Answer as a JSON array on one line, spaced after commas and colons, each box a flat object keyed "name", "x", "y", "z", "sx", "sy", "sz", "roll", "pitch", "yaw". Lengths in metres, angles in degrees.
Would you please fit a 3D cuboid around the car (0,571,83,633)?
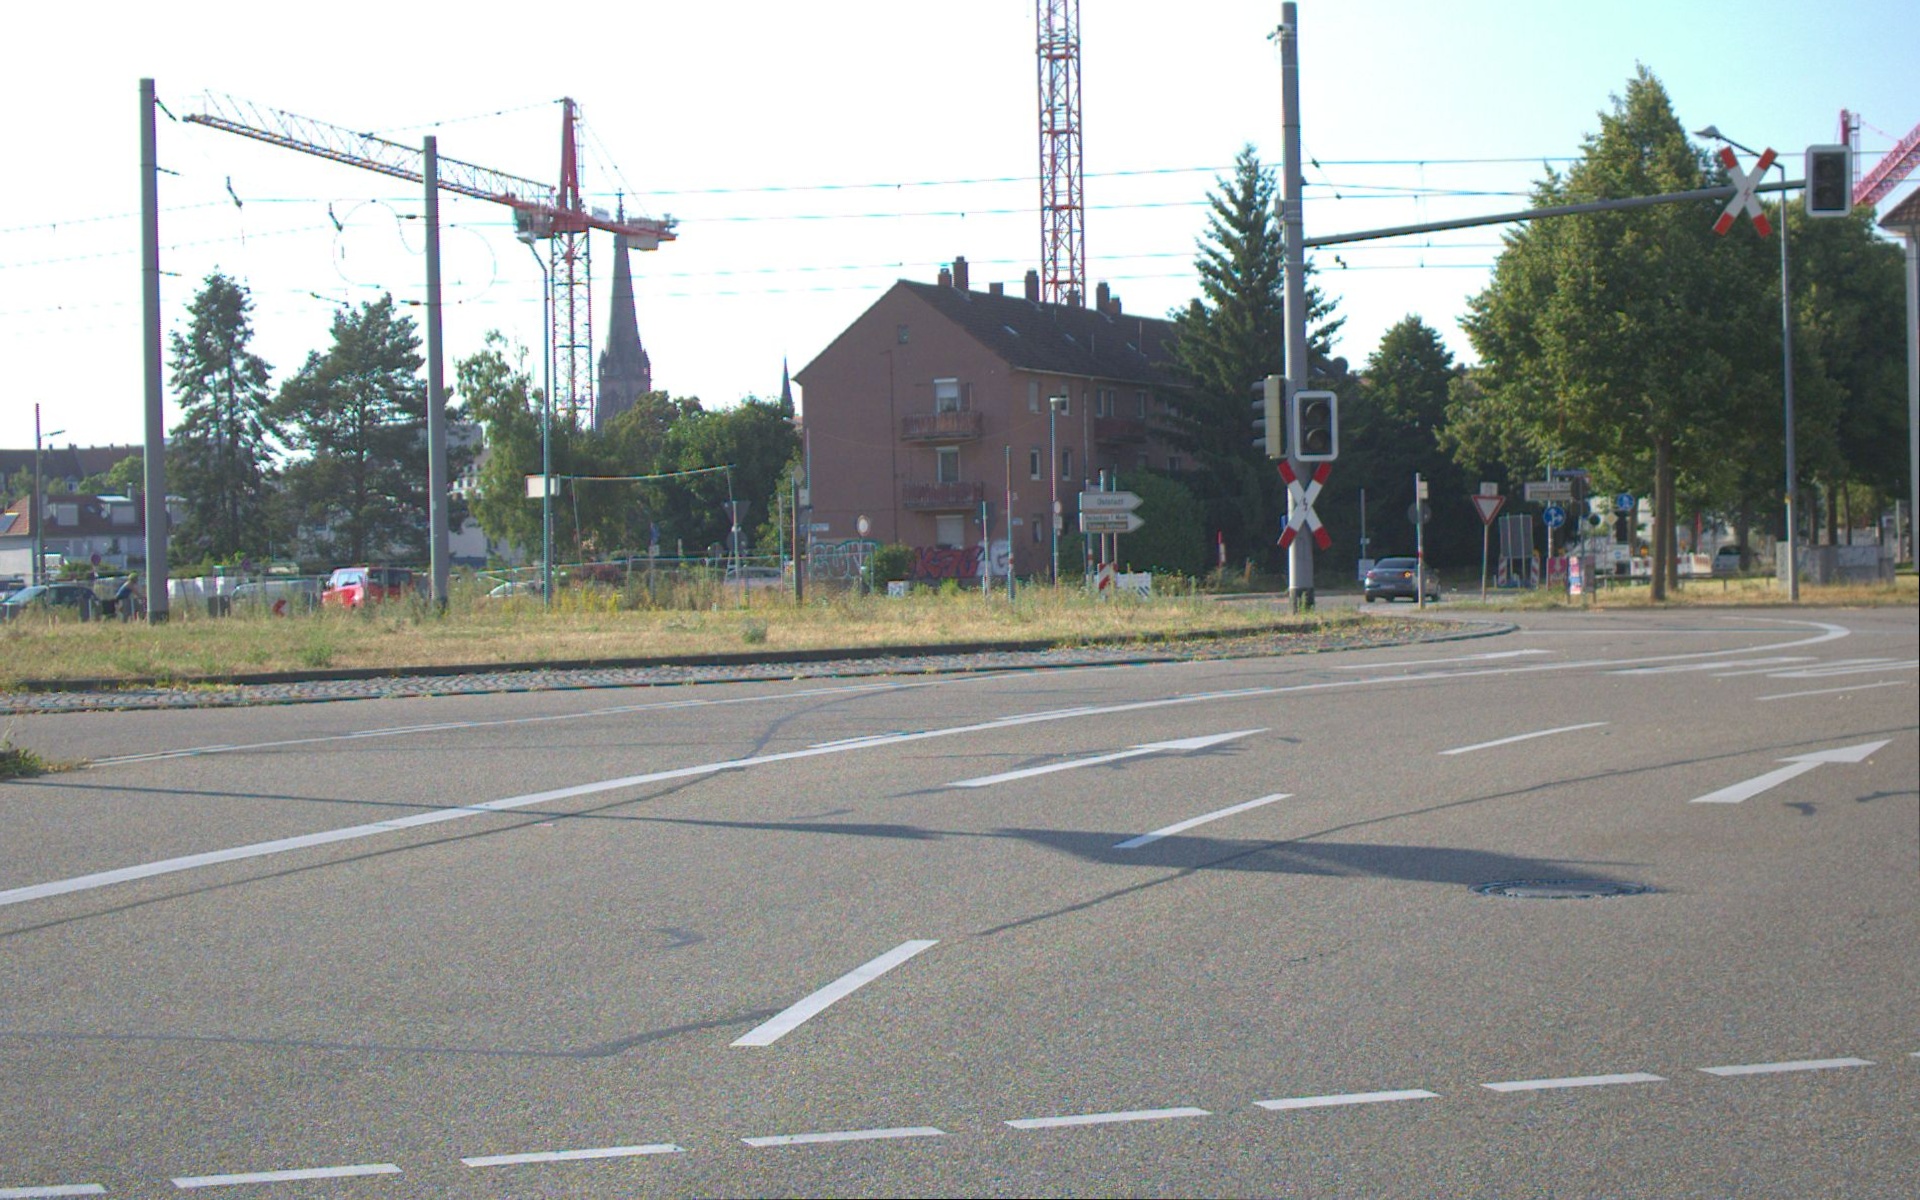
[{"name": "car", "x": -29.176, "y": 0.082, "z": 105.355, "sx": 3.987, "sy": 1.809, "sz": 2.000, "roll": -2, "pitch": 1, "yaw": -32}]

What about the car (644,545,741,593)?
[{"name": "car", "x": -11.633, "y": -1.345, "z": 149.325, "sx": 3.812, "sy": 2.007, "sz": 1.670, "roll": -1, "pitch": 0, "yaw": 19}]

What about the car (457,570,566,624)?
[{"name": "car", "x": -17.286, "y": -0.114, "z": 132.505, "sx": 3.812, "sy": 2.007, "sz": 1.670, "roll": -1, "pitch": 0, "yaw": 19}]

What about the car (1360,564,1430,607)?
[{"name": "car", "x": 14.088, "y": -0.463, "z": 111.225, "sx": 1.457, "sy": 1.295, "sz": 3.545, "roll": -1, "pitch": 1, "yaw": 20}]

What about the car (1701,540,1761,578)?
[{"name": "car", "x": 36.180, "y": -1.915, "z": 161.292, "sx": 1.996, "sy": 1.774, "sz": 3.995, "roll": 1, "pitch": 1, "yaw": 24}]

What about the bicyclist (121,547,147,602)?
[{"name": "bicyclist", "x": -22.911, "y": -0.704, "z": 95.363, "sx": 0.622, "sy": 1.506, "sz": 0.419, "roll": -1, "pitch": 1, "yaw": -5}]

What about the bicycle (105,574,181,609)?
[{"name": "bicycle", "x": -22.656, "y": -0.243, "z": 95.390, "sx": 1.987, "sy": 0.915, "sz": 0.430, "roll": -1, "pitch": 1, "yaw": -6}]

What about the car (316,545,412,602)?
[{"name": "car", "x": -20.136, "y": -0.905, "z": 116.022, "sx": 1.919, "sy": 1.847, "sz": 4.000, "roll": -2, "pitch": 1, "yaw": -29}]
